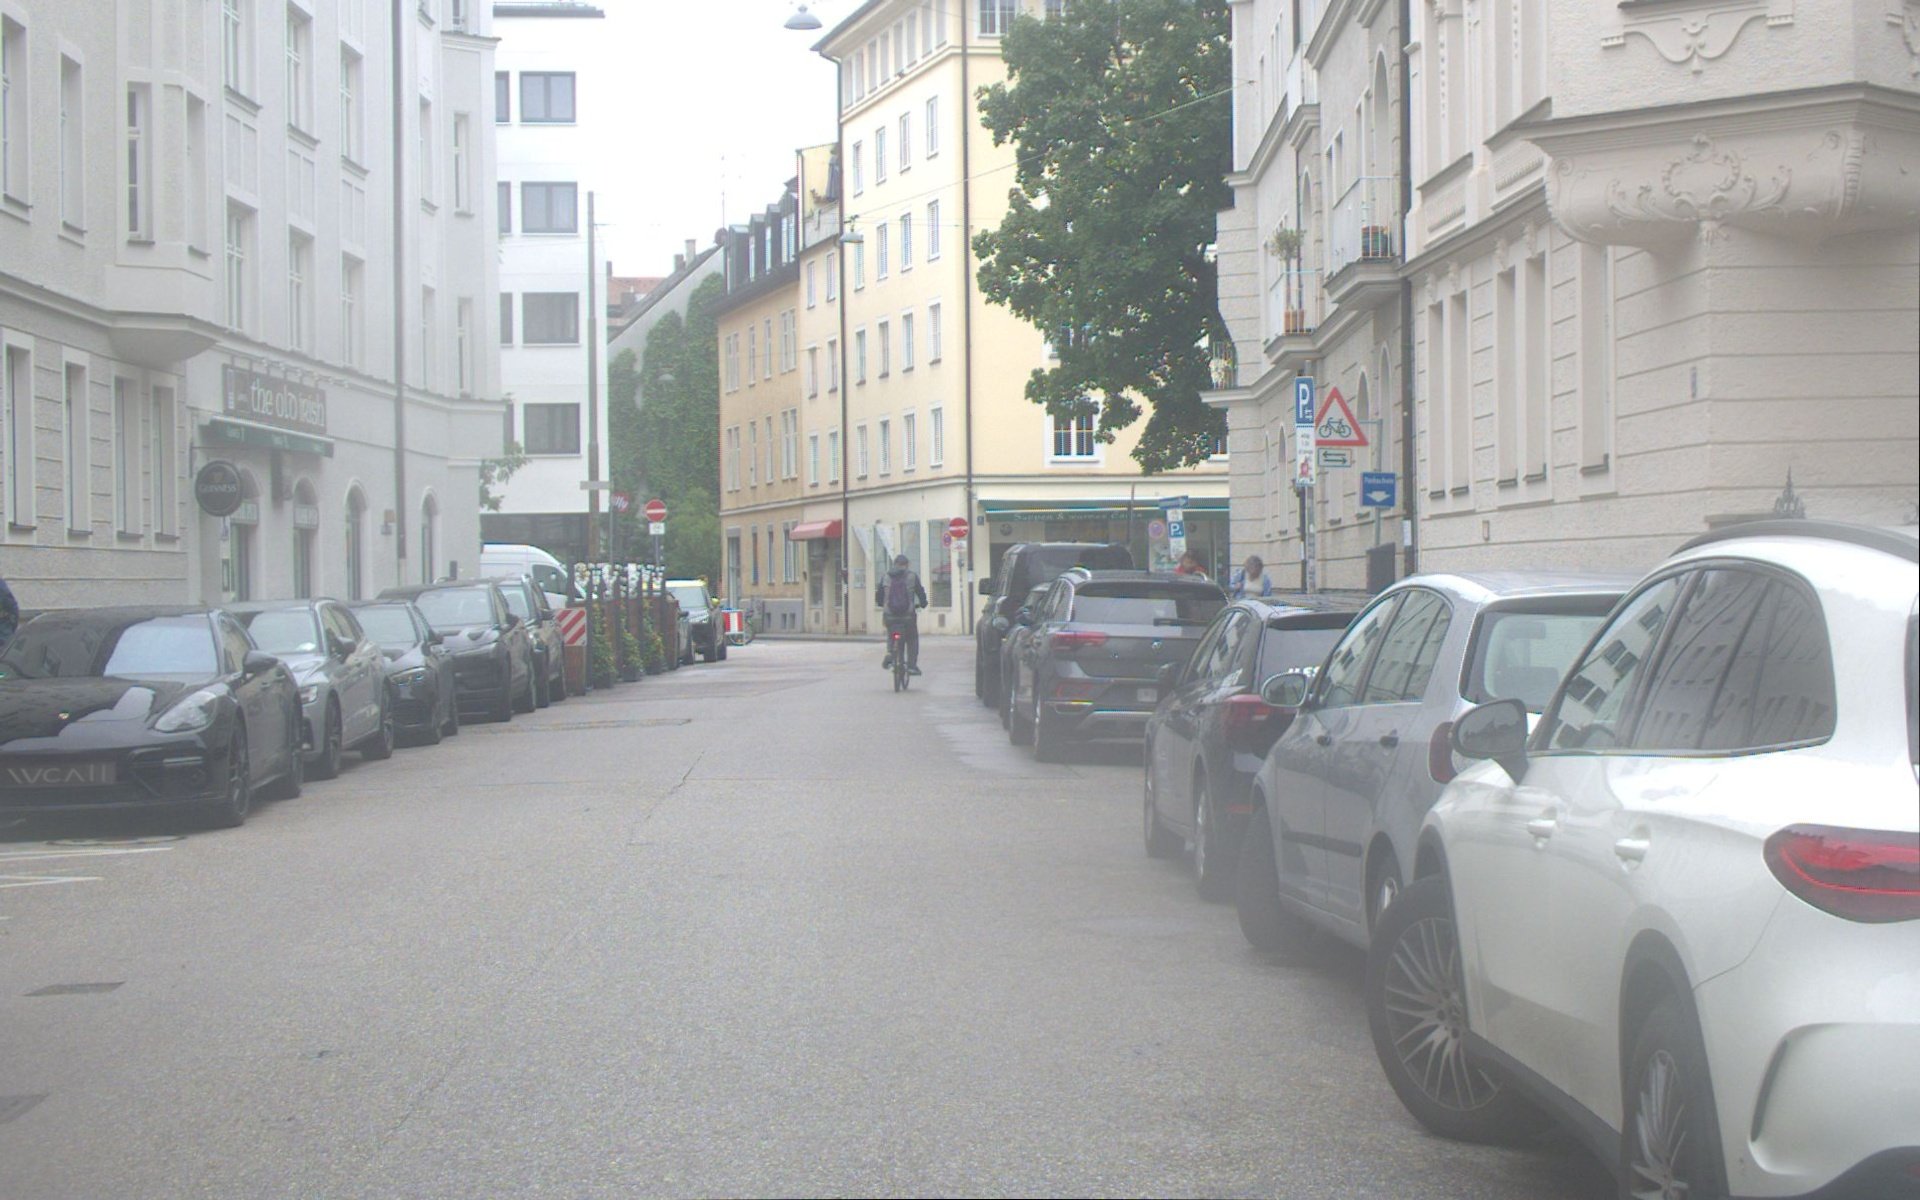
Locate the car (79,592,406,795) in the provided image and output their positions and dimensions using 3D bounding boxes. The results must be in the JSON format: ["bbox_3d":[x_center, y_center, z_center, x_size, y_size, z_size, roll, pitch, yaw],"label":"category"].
[{"bbox_3d":[-5.858,0.710,28.604,1.794,1.415,4.511,-4,0,-1],"label":"car"}]

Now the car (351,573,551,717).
[{"bbox_3d":[-5.688,0.465,38.813,1.741,1.481,4.181,-1,1,-2],"label":"car"}]

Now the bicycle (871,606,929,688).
[{"bbox_3d":[-0.778,0.603,44.783,0.639,1.001,1.574,-2,0,3],"label":"bicycle"}]

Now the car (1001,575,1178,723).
[{"bbox_3d":[1.256,0.456,34.558,1.664,1.391,3.582,0,1,0],"label":"car"}]

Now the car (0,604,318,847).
[{"bbox_3d":[-5.516,0.759,22.968,1.849,1.362,4.703,-1,1,-4],"label":"car"}]

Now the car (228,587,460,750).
[{"bbox_3d":[-6.003,0.620,33.923,1.810,1.380,4.444,-3,1,-5],"label":"car"}]

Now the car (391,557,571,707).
[{"bbox_3d":[-6.023,0.360,43.636,1.746,1.667,4.276,-4,1,-3],"label":"car"}]

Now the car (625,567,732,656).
[{"bbox_3d":[-5.498,0.209,67.609,1.676,1.591,3.945,-3,0,0],"label":"car"}]

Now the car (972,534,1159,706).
[{"bbox_3d":[1.182,0.196,40.575,1.911,1.879,4.714,1,1,-2],"label":"car"}]

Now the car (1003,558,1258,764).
[{"bbox_3d":[1.354,0.454,28.730,1.707,1.582,4.001,0,1,-3],"label":"car"}]

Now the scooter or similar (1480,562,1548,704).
[{"bbox_3d":[5.242,0.302,32.581,0.507,1.283,1.351,-3,0,7],"label":"scooter or similar"}]

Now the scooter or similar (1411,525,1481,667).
[{"bbox_3d":[4.591,-0.048,32.538,0.540,1.283,1.503,-3,0,6],"label":"scooter or similar"}]

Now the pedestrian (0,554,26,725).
[{"bbox_3d":[-9.830,0.393,34.560,0.697,1.701,0.665,-1,1,-4],"label":"pedestrian"}]

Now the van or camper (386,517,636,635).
[{"bbox_3d":[-10.927,-0.574,83.581,5.903,2.668,1.873,-2,-1,-9],"label":"van or camper"}]

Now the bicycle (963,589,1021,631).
[{"bbox_3d":[0.772,0.244,84.435,0.846,0.998,2.170,-1,1,-15],"label":"bicycle"}]

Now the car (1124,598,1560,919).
[{"bbox_3d":[1.818,0.712,17.487,1.612,1.390,4.000,0,1,-2],"label":"car"}]

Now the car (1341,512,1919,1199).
[{"bbox_3d":[2.044,0.647,7.335,1.895,1.630,4.392,-1,2,-1],"label":"car"}]

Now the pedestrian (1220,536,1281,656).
[{"bbox_3d":[4.140,-0.062,49.041,0.679,1.668,0.654,-4,1,-4],"label":"pedestrian"}]

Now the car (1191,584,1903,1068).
[{"bbox_3d":[2.009,0.705,12.927,1.708,1.496,4.001,-1,1,-4],"label":"car"}]

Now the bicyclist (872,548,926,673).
[{"bbox_3d":[-0.792,0.132,44.790,0.606,1.601,0.757,-2,1,3],"label":"bicyclist"}]

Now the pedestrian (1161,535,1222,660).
[{"bbox_3d":[3.264,-0.045,48.534,0.703,1.722,0.703,-2,1,-4],"label":"pedestrian"}]

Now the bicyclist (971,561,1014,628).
[{"bbox_3d":[0.790,-0.146,84.360,0.781,1.632,0.976,-1,1,-15],"label":"bicyclist"}]
